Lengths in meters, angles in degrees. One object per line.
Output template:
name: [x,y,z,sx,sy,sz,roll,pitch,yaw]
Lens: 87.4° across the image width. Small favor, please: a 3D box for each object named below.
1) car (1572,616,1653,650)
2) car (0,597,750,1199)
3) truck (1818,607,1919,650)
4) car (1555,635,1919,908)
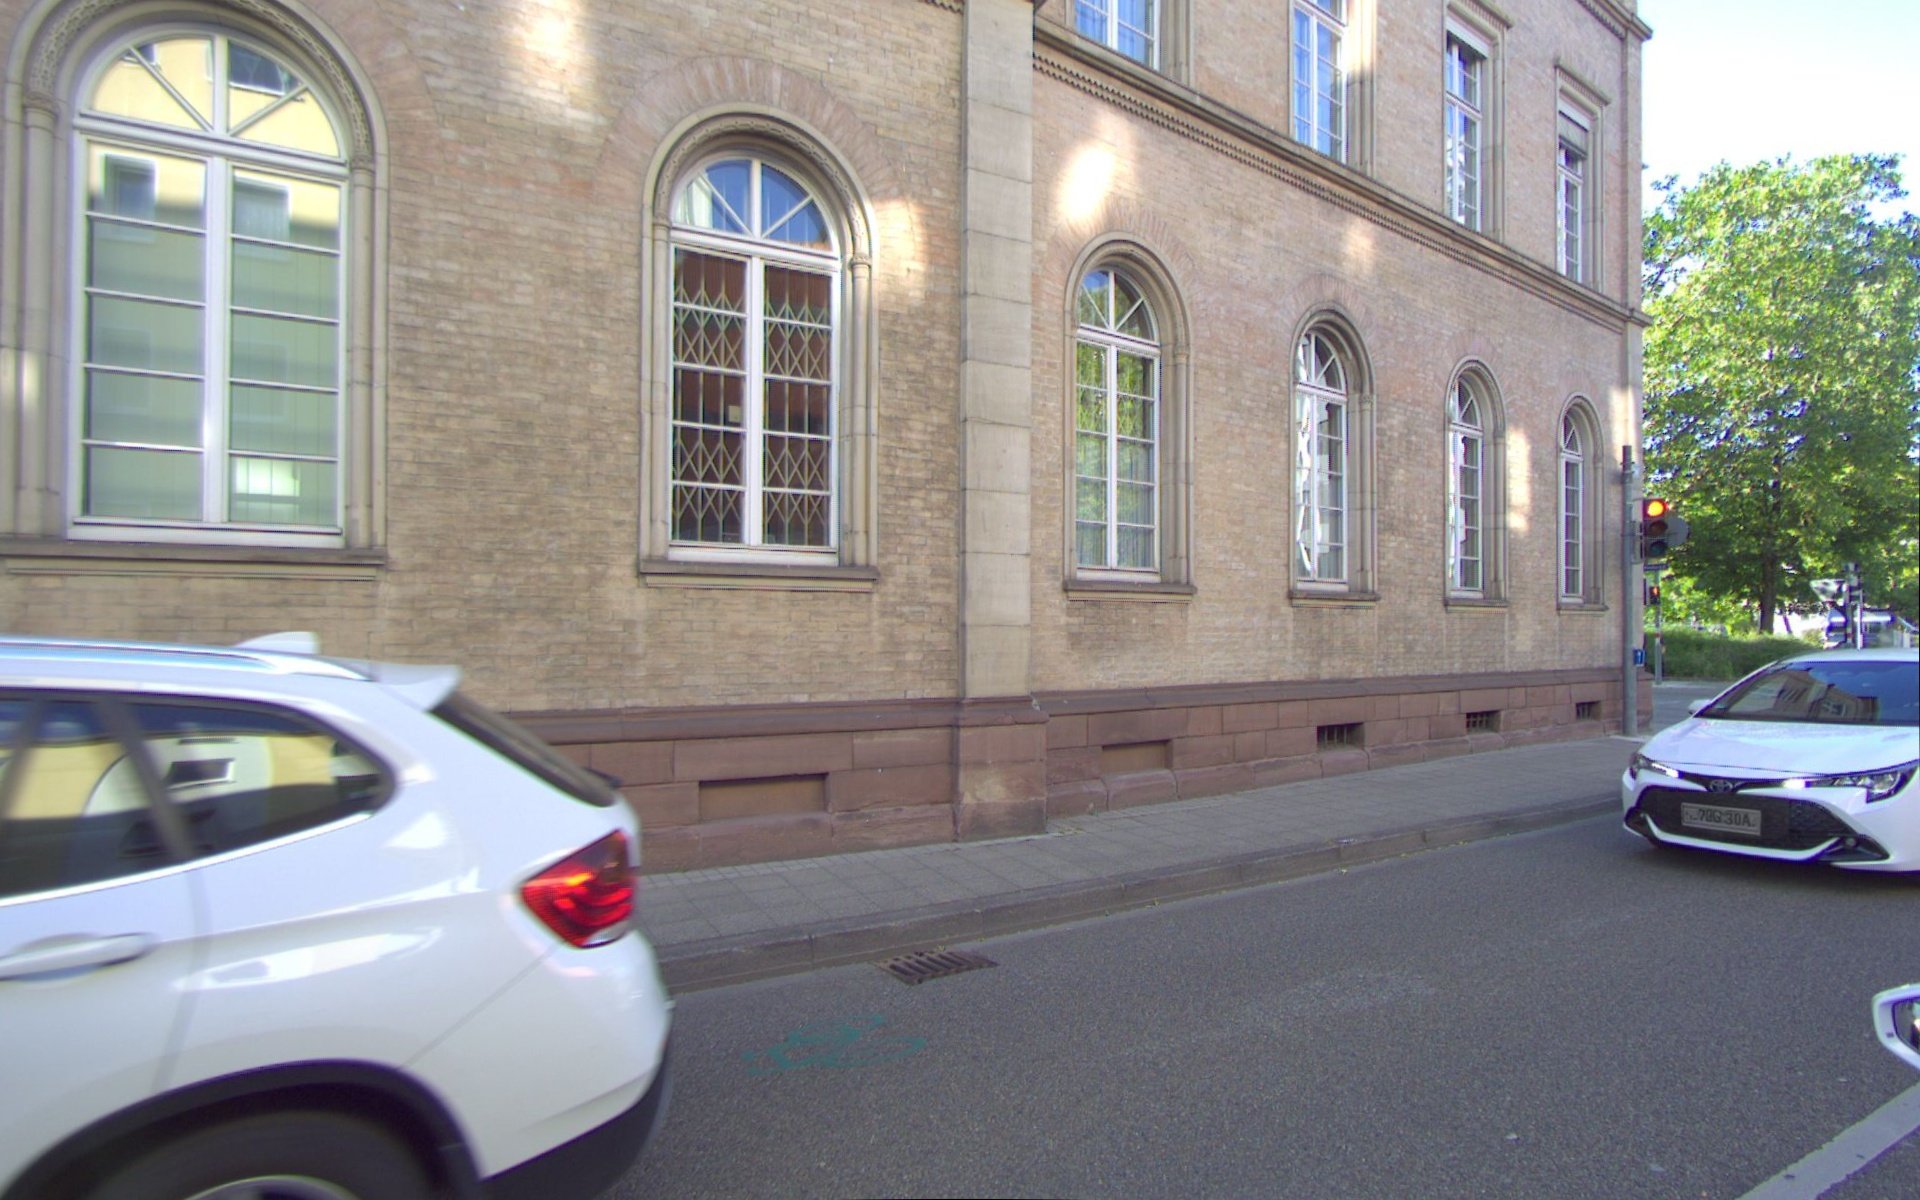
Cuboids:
car: [47.838,2.470,73.726,2.056,2.423,4.521,2,-3,-38]
car: [-2.691,0.833,1.857,4.224,1.603,1.678,1,-4,-30]
truck: [53.764,1.662,59.073,2.069,2.431,4.790,1,-1,-39]
car: [6.714,1.037,7.413,4.486,1.495,1.880,1,-4,-27]
